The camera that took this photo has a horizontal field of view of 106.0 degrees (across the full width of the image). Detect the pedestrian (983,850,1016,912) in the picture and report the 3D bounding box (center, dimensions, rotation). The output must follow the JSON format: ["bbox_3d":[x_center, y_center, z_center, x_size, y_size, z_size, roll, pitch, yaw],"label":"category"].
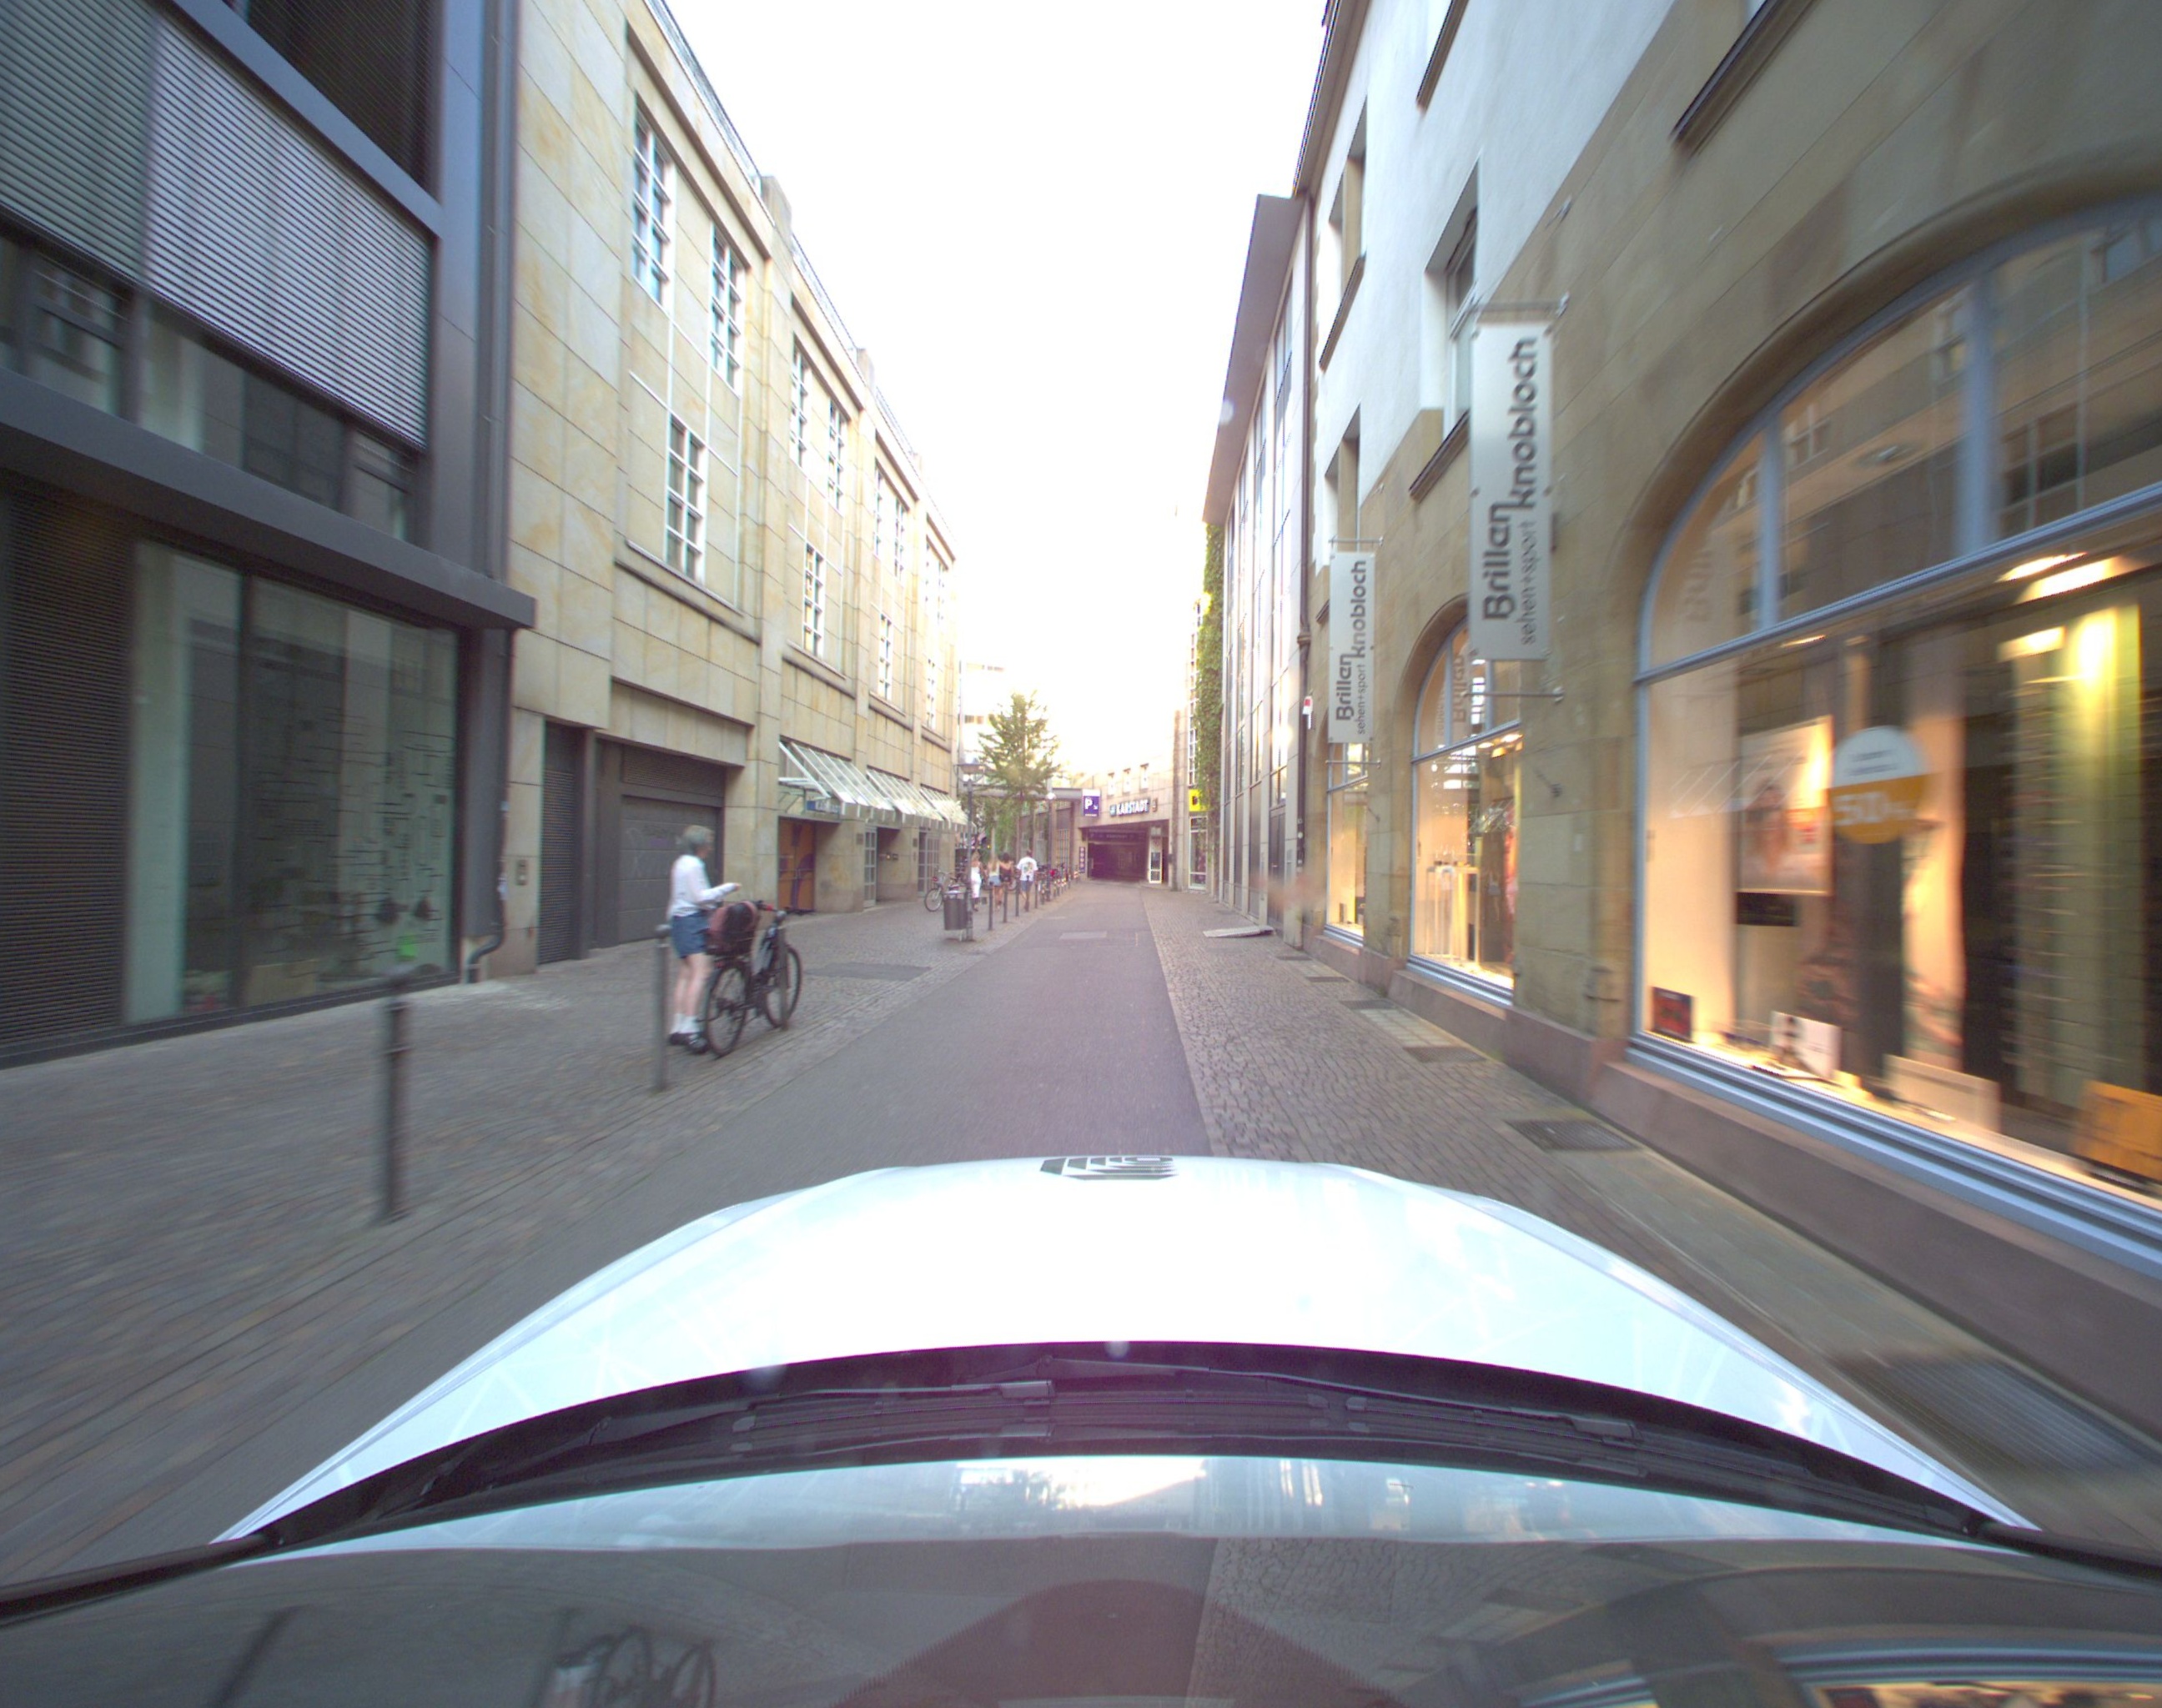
[{"bbox_3d":[-2.336,0.746,23.341,0.803,1.729,0.949,1,0,1],"label":"pedestrian"}]

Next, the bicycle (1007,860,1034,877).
[{"bbox_3d":[-4.217,1.006,56.630,1.778,1.114,0.539,0,0,-18],"label":"bicycle"}]

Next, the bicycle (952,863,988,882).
[{"bbox_3d":[-6.080,1.019,44.588,1.883,1.043,0.530,0,0,-20],"label":"bicycle"}]

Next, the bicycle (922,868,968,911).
[{"bbox_3d":[-3.835,0.989,23.104,0.517,1.138,1.773,0,0,19],"label":"bicycle"}]

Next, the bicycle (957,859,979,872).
[{"bbox_3d":[-10.035,1.002,72.324,1.778,1.190,0.583,0,0,-18],"label":"bicycle"}]

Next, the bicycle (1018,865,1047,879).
[{"bbox_3d":[-3.049,1.127,51.007,1.778,0.904,0.461,0,0,-18],"label":"bicycle"}]

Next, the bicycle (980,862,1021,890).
[{"bbox_3d":[-3.607,0.962,36.373,1.772,1.231,0.530,0,0,-20],"label":"bicycle"}]

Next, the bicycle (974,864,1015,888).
[{"bbox_3d":[-4.098,1.039,38.564,1.842,1.122,0.530,0,0,-20],"label":"bicycle"}]

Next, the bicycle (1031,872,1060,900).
[{"bbox_3d":[-1.283,1.160,29.831,0.489,0.939,1.667,2,0,18],"label":"bicycle"}]

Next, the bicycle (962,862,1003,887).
[{"bbox_3d":[-4.778,0.982,39.545,1.878,1.177,0.530,0,0,-20],"label":"bicycle"}]

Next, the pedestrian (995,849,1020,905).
[{"bbox_3d":[-2.406,0.733,26.603,0.784,1.795,0.970,0,0,-5],"label":"pedestrian"}]

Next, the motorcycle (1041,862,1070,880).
[{"bbox_3d":[-1.508,1.021,48.470,1.667,1.050,0.461,0,0,-18],"label":"motorcycle"}]

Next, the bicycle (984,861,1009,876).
[{"bbox_3d":[-6.341,1.056,61.204,1.778,1.114,0.539,0,0,-18],"label":"bicycle"}]

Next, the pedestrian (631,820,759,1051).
[{"bbox_3d":[-3.038,0.620,6.475,0.770,1.718,0.588,2,0,-18],"label":"pedestrian"}]

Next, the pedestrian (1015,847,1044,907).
[{"bbox_3d":[-1.608,0.701,25.409,0.743,1.822,0.874,0,0,-13],"label":"pedestrian"}]

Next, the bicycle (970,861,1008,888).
[{"bbox_3d":[-4.257,0.939,37.677,1.659,1.231,0.530,0,0,-20],"label":"bicycle"}]

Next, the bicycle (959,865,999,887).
[{"bbox_3d":[-5.030,1.059,40.084,1.900,1.052,0.530,0,0,-20],"label":"bicycle"}]

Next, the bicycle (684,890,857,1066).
[{"bbox_3d":[-2.486,0.928,6.787,0.530,1.153,1.917,2,0,4],"label":"bicycle"}]

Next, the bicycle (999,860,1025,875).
[{"bbox_3d":[-5.011,0.982,58.896,1.778,1.114,0.539,0,0,-18],"label":"bicycle"}]

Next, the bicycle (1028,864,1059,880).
[{"bbox_3d":[-2.297,1.082,50.127,1.853,0.982,0.461,0,0,-18],"label":"bicycle"}]

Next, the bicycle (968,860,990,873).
[{"bbox_3d":[-8.414,1.025,67.064,1.776,1.114,0.540,0,0,-15],"label":"bicycle"}]

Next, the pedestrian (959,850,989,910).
[{"bbox_3d":[-3.056,0.733,23.347,0.672,1.664,0.861,1,0,2],"label":"pedestrian"}]

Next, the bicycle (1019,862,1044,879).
[{"bbox_3d":[-3.148,1.068,51.963,1.543,1.049,0.572,0,0,-18],"label":"bicycle"}]

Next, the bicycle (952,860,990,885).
[{"bbox_3d":[-5.513,0.930,40.778,1.839,1.225,0.530,0,0,-20],"label":"bicycle"}]
